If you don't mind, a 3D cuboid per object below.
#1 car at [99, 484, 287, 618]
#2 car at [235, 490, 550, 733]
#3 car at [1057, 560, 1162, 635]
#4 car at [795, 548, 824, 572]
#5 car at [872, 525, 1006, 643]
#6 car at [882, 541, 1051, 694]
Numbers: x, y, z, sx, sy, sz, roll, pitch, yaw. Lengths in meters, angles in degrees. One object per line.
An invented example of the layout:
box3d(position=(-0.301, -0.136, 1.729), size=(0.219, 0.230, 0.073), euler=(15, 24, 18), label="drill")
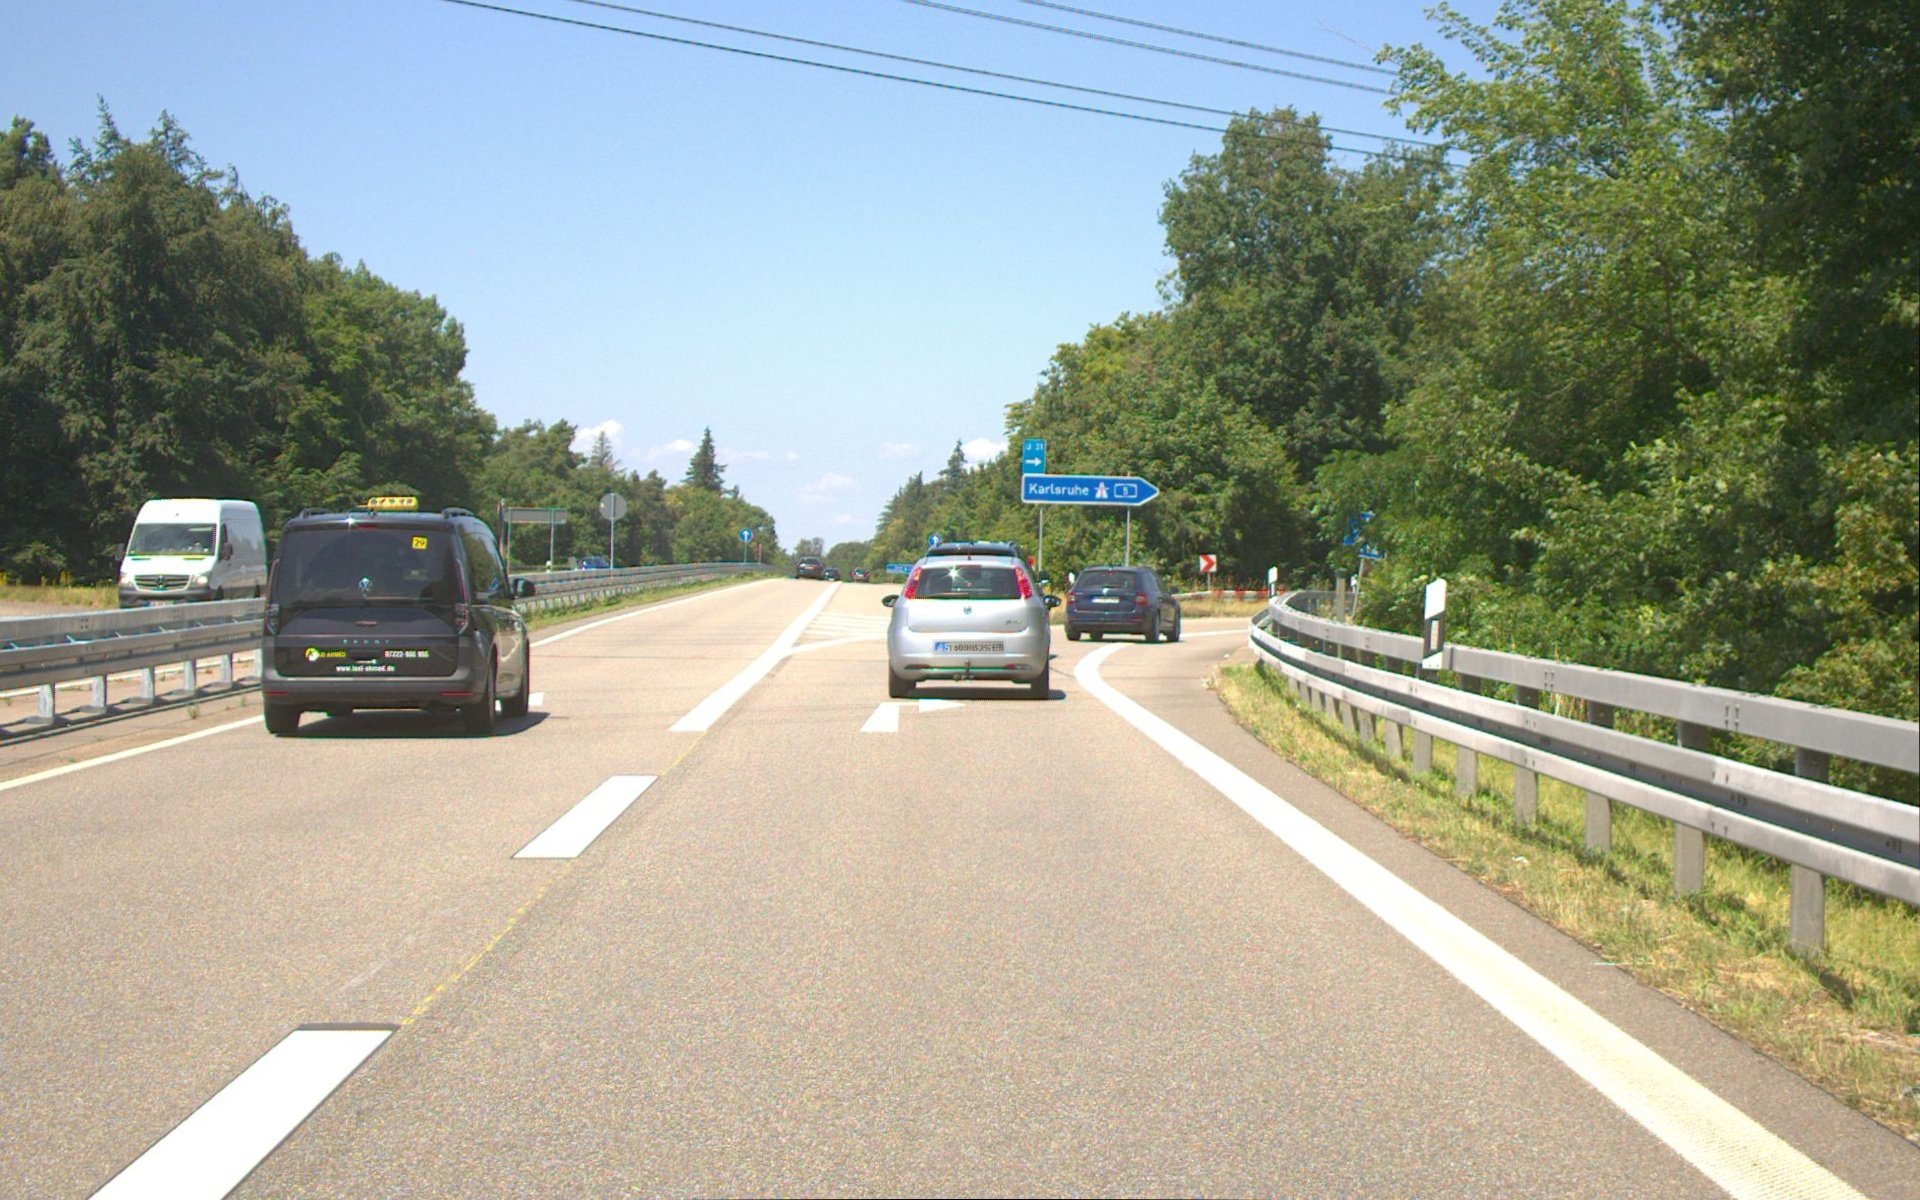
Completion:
box3d(position=(-15.991, -1.031, 72.152), size=(2.524, 2.609, 7.186), euler=(-1, 1, -2), label="car")
box3d(position=(-4.735, 0.046, 29.469), size=(1.854, 1.880, 5.574), euler=(0, 1, -1), label="car")
box3d(position=(2.913, -0.062, 66.299), size=(1.641, 1.338, 3.573), euler=(3, 1, 8), label="car")
box3d(position=(-9.829, -2.611, 224.678), size=(1.712, 1.466, 3.574), euler=(3, 1, -1), label="car")
box3d(position=(-0.282, -0.261, 51.925), size=(1.640, 1.648, 3.573), euler=(3, 1, 5), label="car")
box3d(position=(0.063, 0.150, 36.383), size=(1.640, 1.463, 3.419), euler=(3, 1, 0), label="car")
